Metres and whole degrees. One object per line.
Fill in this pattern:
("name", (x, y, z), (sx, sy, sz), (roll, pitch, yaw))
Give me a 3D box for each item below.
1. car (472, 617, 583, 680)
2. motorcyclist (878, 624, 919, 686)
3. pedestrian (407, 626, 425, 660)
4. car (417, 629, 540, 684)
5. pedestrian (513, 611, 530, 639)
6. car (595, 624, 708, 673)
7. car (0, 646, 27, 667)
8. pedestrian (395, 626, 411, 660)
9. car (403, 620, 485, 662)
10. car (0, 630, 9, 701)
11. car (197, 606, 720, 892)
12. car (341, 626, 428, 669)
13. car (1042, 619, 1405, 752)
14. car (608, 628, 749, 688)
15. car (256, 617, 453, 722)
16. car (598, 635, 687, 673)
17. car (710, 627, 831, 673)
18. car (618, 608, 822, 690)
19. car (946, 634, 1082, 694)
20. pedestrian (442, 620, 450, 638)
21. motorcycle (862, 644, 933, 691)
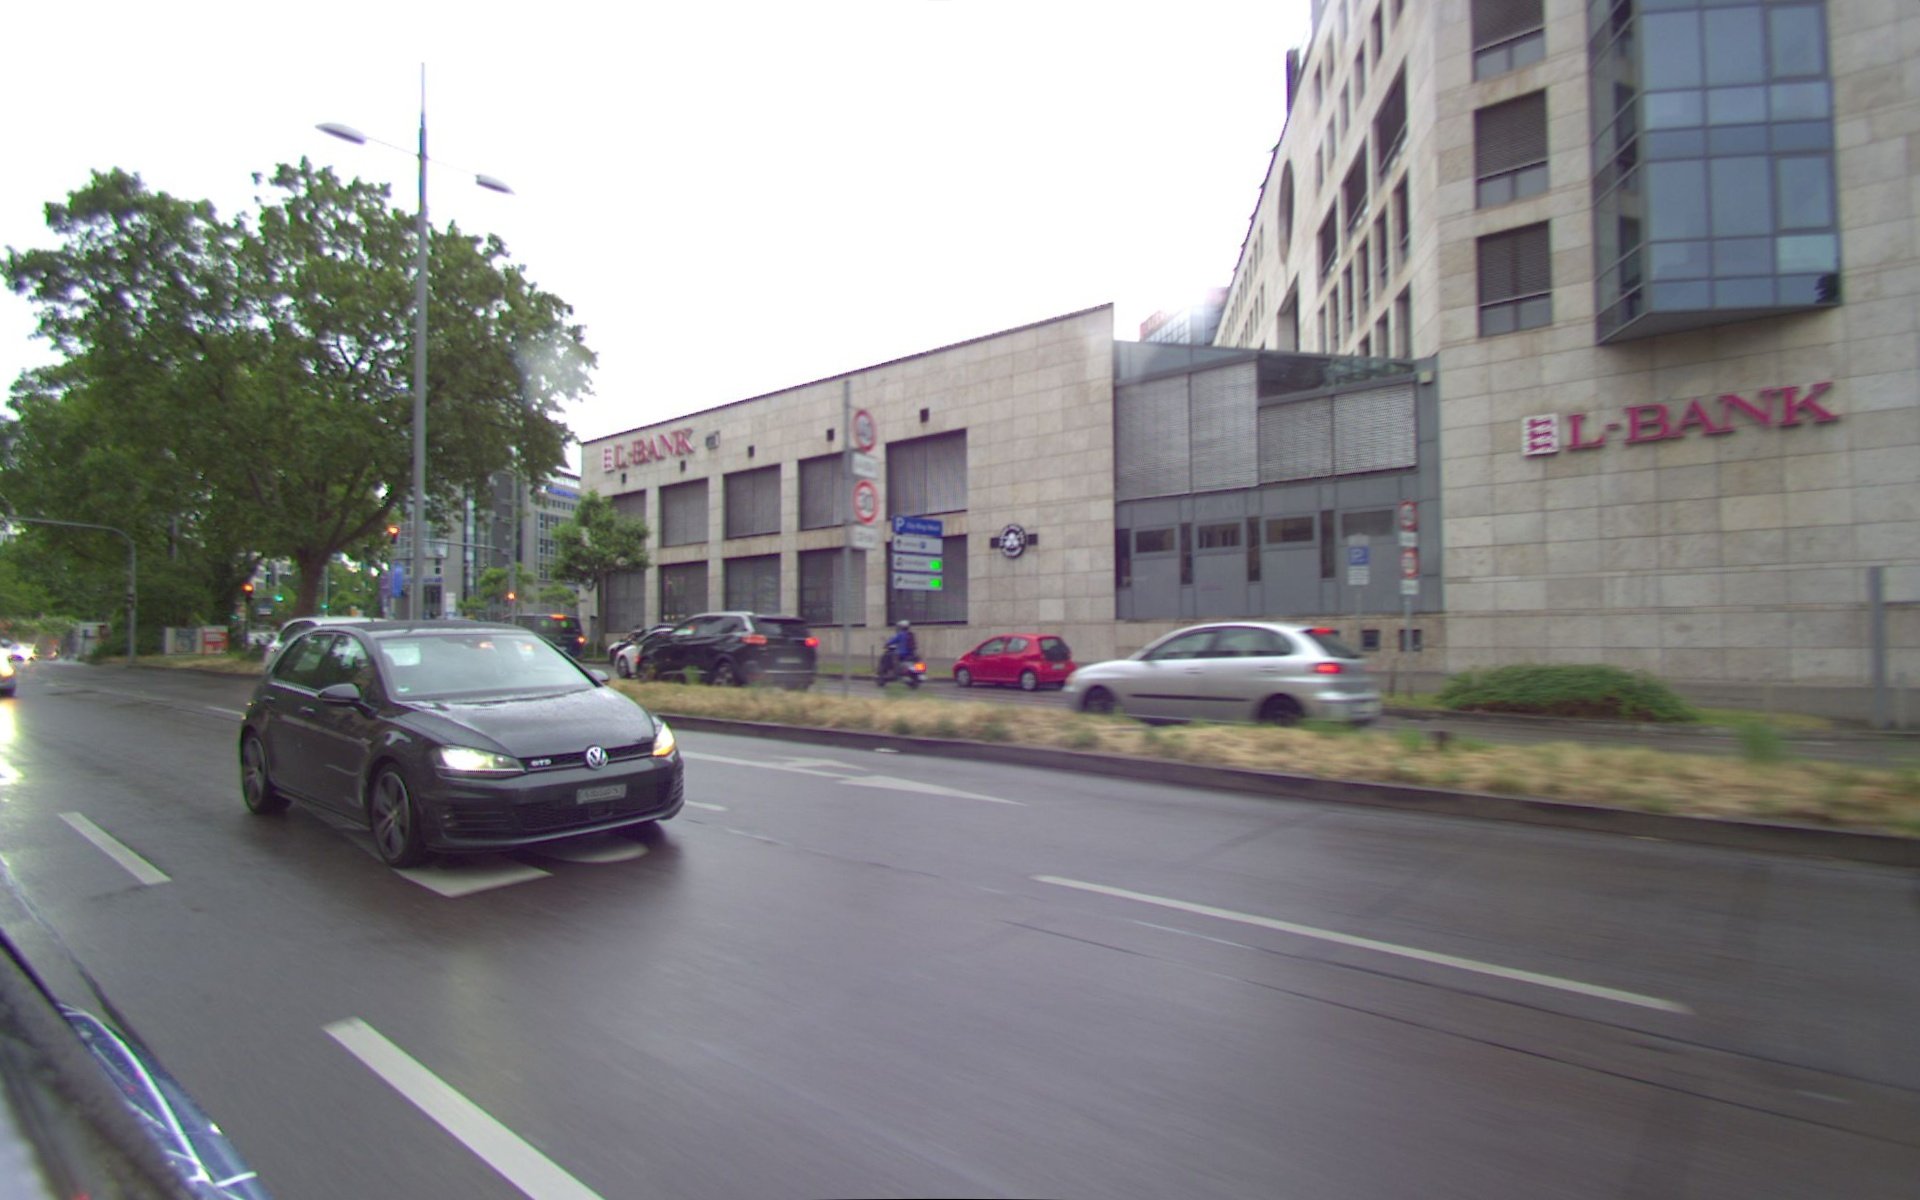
("car", (-14.997, 1.614, 34.939), (1.809, 2.017, 5.108), (2, -2, -44))
("motorcyclist", (-1.568, 1.395, 25.751), (0.973, 1.541, 0.514), (-3, -3, 42))
("pedestrian", (-25.947, 2.036, 48.253), (0.636, 1.626, 0.445), (-1, -2, 18))
("car", (-14.106, 1.608, 29.536), (4.315, 1.453, 1.839), (-1, -3, 44))
("pedestrian", (-30.156, 1.720, 69.603), (1.125, 1.939, 0.582), (-2, -1, 41))
("car", (-10.695, 1.626, 34.943), (4.641, 1.544, 1.707), (-1, -2, 44))
("car", (-68.790, 4.104, 73.137), (1.690, 1.452, 3.501), (1, -3, -38))
("pedestrian", (-26.544, 2.036, 48.223), (0.551, 1.626, 0.422), (-2, -2, 23))
("car", (-21.384, 1.654, 41.895), (4.094, 1.652, 1.810), (-1, -2, 45))
("car", (-21.472, 1.408, 21.338), (3.490, 1.452, 1.592), (-2, 0, 39))
("car", (-3.712, 0.819, 7.195), (4.118, 1.463, 1.767), (-1, -2, 39))
("car", (-20.201, 1.623, 35.466), (1.727, 1.375, 3.947), (2, -2, -44))
("car", (3.126, 0.935, 12.556), (4.117, 1.370, 1.579), (-1, -2, 43))
("car", (-7.714, 1.514, 27.464), (4.397, 1.443, 1.707), (-1, -2, 44))
("car", (-10.604, 1.117, 17.624), (3.997, 1.608, 1.758), (-1, -2, 41))
("car", (-12.864, 2.143, 40.905), (1.726, 1.426, 4.297), (2, -2, -43))
("car", (-6.491, 1.642, 34.329), (1.727, 1.426, 4.708), (2, -2, -44))
("car", (-4.824, 0.904, 19.958), (4.583, 1.448, 1.681), (-1, -2, 44))
("car", (1.379, 1.641, 26.658), (1.574, 1.426, 3.403), (2, -2, -44))
("pedestrian", (-49.129, 2.779, 96.751), (0.570, 1.639, 0.564), (0, -2, -9))
("motorcycle", (-1.599, 1.701, 25.773), (2.032, 1.139, 0.543), (-3, -3, 42))
